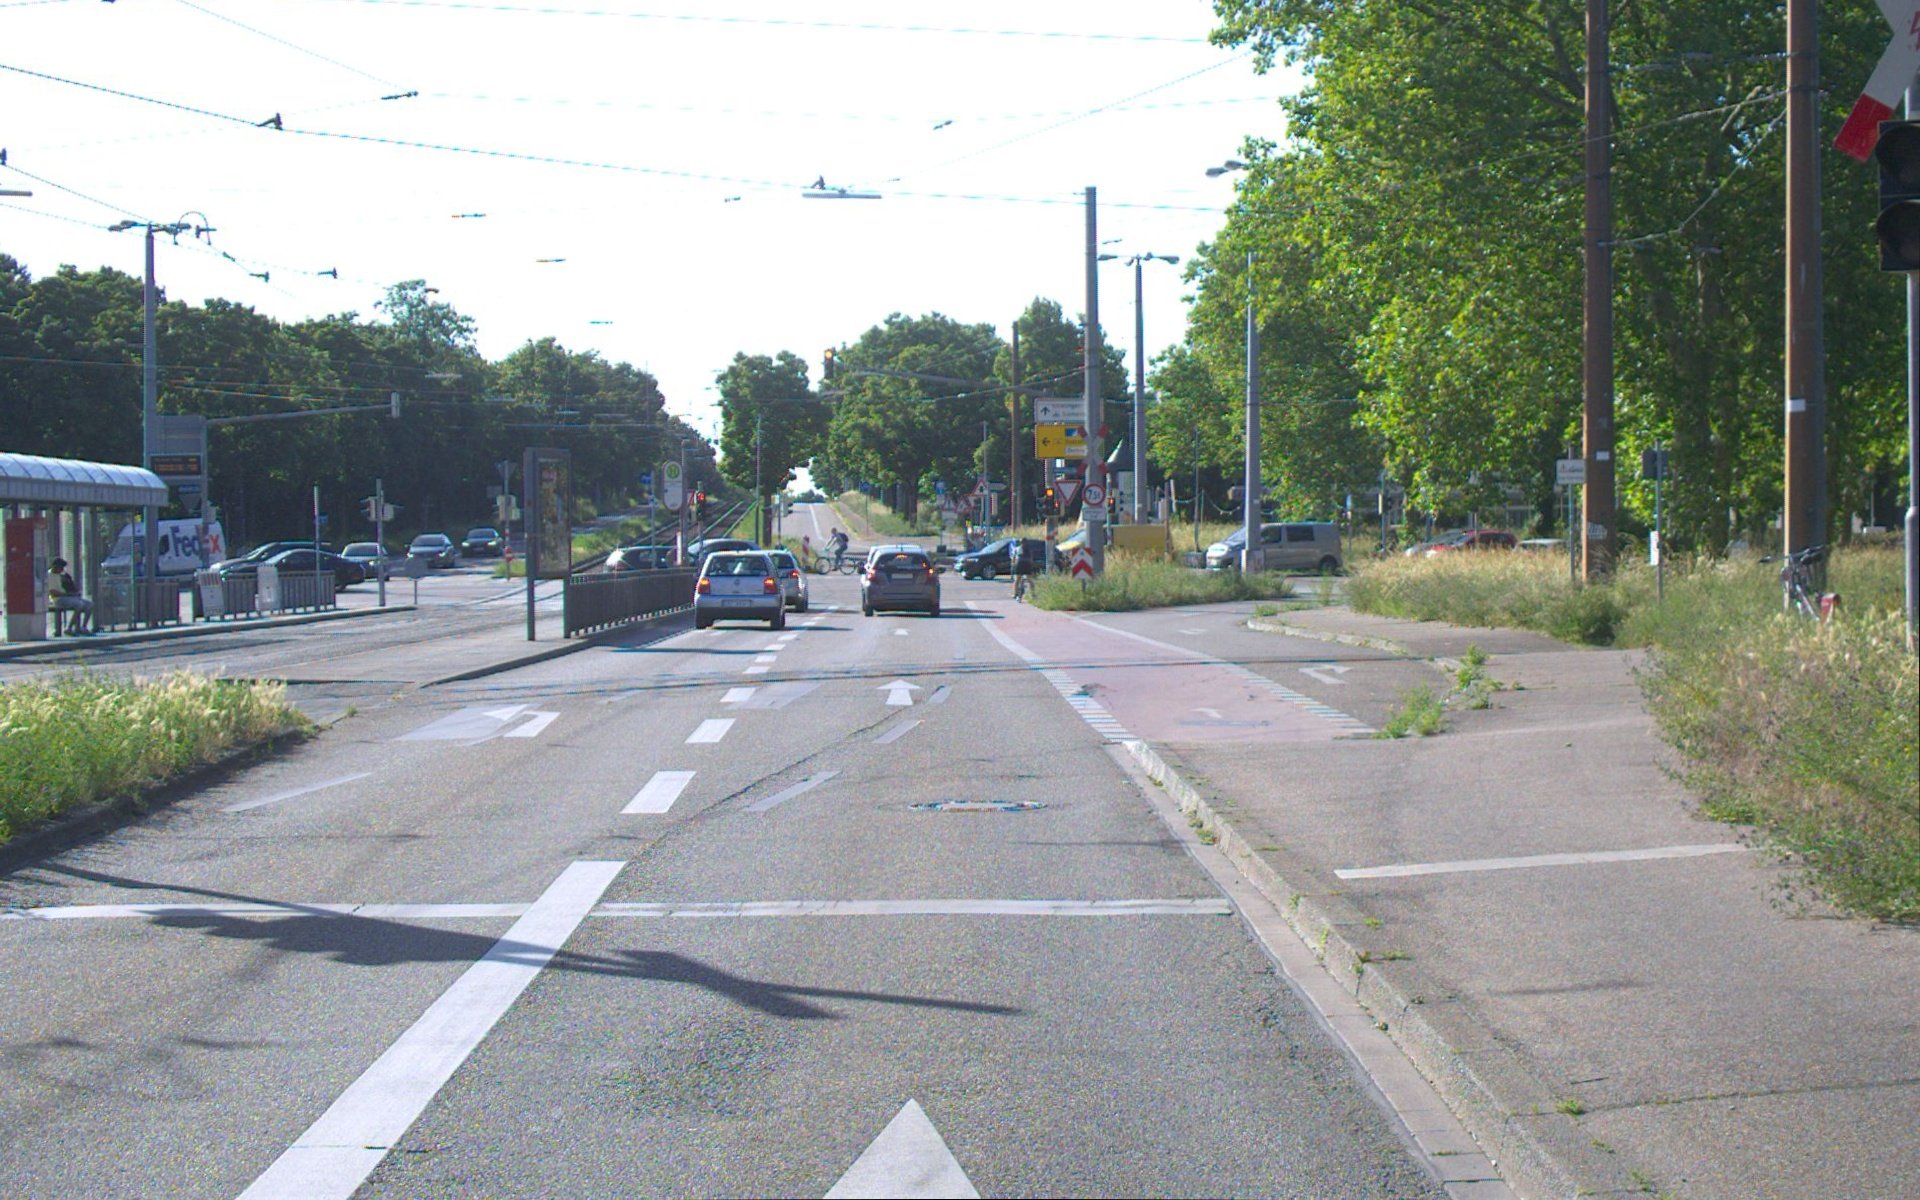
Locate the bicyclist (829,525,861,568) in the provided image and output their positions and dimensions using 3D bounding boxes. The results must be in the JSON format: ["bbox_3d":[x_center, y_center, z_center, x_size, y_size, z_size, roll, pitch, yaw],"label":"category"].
[{"bbox_3d":[-4.428,-2.059,132.478,1.006,1.642,0.817,-1,1,-18],"label":"bicyclist"}]

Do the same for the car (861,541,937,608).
[{"bbox_3d":[-1.386,-0.588,77.347,1.668,1.457,3.586,0,1,-1],"label":"car"}]

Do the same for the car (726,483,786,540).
[{"bbox_3d":[-7.591,-3.282,128.411,1.993,2.007,4.492,1,0,0],"label":"car"}]

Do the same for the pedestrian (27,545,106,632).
[{"bbox_3d":[-15.243,-0.203,58.667,1.060,1.448,1.007,-1,0,-1],"label":"pedestrian"}]

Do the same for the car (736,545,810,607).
[{"bbox_3d":[-4.489,-0.588,82.814,1.619,1.452,4.085,0,0,-1],"label":"car"}]

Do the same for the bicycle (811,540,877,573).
[{"bbox_3d":[-4.486,-1.685,132.472,2.395,1.258,0.817,-1,1,-18],"label":"bicycle"}]

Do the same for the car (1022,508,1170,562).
[{"bbox_3d":[5.040,-2.389,127.235,5.154,1.873,2.000,1,0,-27],"label":"car"}]

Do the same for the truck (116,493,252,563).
[{"bbox_3d":[-29.271,-2.723,129.895,1.995,2.556,6.818,0,1,16],"label":"truck"}]

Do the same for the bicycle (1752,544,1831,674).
[{"bbox_3d":[7.550,0.067,31.168,0.365,1.131,2.093,-1,1,22],"label":"bicycle"}]

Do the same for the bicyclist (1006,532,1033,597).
[{"bbox_3d":[1.587,-0.943,91.367,0.666,1.710,0.948,1,0,-1],"label":"bicyclist"}]

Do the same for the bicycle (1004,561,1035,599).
[{"bbox_3d":[1.578,-0.539,91.451,0.722,0.985,2.876,1,0,-1],"label":"bicycle"}]

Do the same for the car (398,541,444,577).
[{"bbox_3d":[-23.876,-1.818,152.386,1.832,1.543,4.285,-1,1,-7],"label":"car"}]

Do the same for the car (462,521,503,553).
[{"bbox_3d":[-23.978,-3.173,172.677,1.993,1.599,4.756,0,1,-8],"label":"car"}]

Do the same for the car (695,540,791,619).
[{"bbox_3d":[-4.057,-0.388,64.633,1.619,1.413,3.351,-1,0,-1],"label":"car"}]

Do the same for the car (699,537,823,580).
[{"bbox_3d":[-7.040,-1.465,121.589,3.986,1.468,1.752,1,0,-22],"label":"car"}]

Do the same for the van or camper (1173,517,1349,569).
[{"bbox_3d":[10.688,-2.024,122.130,5.966,1.822,2.000,0,1,-5],"label":"van or camper"}]
